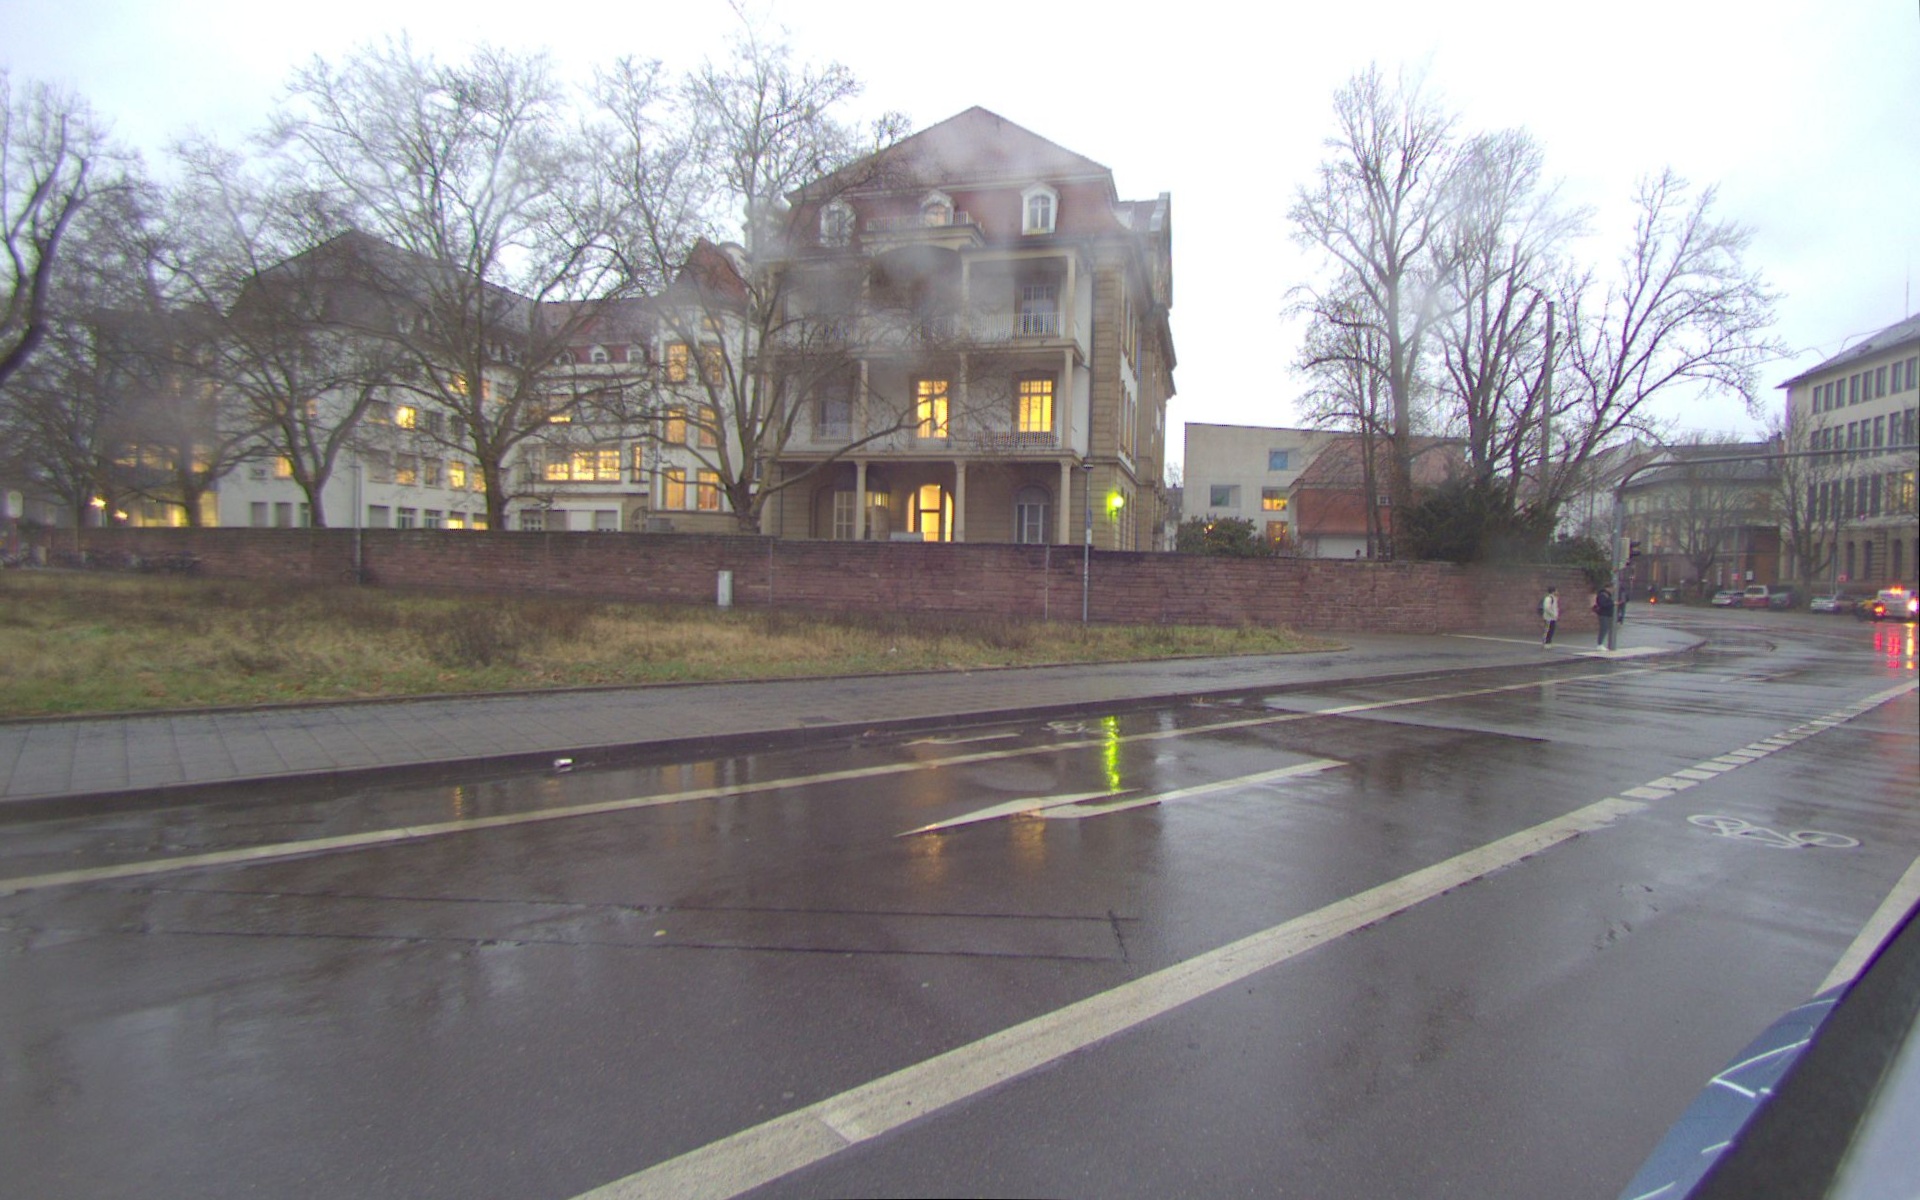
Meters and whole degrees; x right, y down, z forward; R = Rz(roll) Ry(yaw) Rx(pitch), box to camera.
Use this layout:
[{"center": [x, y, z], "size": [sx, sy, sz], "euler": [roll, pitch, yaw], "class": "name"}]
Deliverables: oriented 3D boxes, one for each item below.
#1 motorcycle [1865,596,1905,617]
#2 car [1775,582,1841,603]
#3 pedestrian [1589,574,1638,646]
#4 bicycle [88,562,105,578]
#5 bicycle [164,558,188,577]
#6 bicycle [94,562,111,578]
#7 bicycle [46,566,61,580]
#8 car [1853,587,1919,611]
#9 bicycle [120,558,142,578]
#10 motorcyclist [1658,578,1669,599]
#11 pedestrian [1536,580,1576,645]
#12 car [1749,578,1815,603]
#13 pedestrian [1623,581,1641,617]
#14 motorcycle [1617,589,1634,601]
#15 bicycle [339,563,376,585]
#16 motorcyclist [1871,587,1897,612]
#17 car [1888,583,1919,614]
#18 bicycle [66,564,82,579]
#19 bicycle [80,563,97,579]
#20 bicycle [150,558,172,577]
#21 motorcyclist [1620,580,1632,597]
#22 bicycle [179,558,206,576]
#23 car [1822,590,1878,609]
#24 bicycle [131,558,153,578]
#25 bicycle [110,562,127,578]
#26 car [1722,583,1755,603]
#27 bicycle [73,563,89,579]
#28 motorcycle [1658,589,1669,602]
[{"center": [52.192, 0.376, 57.116], "size": [0.703, 1.067, 2.158], "euler": [3, 2, 15], "class": "motorcycle"}, {"center": [64.699, -0.577, 77.229], "size": [3.916, 1.570, 1.805], "euler": [0, 0, -13], "class": "car"}, {"center": [18.243, 0.265, 28.258], "size": [0.996, 1.924, 0.664], "euler": [4, 3, 41], "class": "pedestrian"}, {"center": [-44.179, -1.525, 51.771], "size": [1.522, 0.796, 0.389], "euler": [0, 0, 38], "class": "bicycle"}, {"center": [-35.551, -1.465, 45.863], "size": [1.519, 0.796, 0.389], "euler": [0, 0, 33], "class": "bicycle"}, {"center": [-43.131, -1.491, 50.900], "size": [1.522, 0.796, 0.389], "euler": [0, 0, 38], "class": "bicycle"}, {"center": [-51.609, -1.541, 57.596], "size": [1.522, 0.796, 0.389], "euler": [0, 0, 38], "class": "bicycle"}, {"center": [61.963, -0.054, 67.009], "size": [3.927, 1.570, 1.800], "euler": [0, 0, 4], "class": "car"}, {"center": [-39.909, -1.536, 48.725], "size": [1.519, 0.928, 0.389], "euler": [0, 0, 33], "class": "bicycle"}, {"center": [60.844, -0.975, 87.479], "size": [0.706, 1.738, 0.732], "euler": [3, 2, 35], "class": "motorcyclist"}, {"center": [16.583, 0.329, 28.169], "size": [0.795, 1.744, 0.665], "euler": [3, 3, 39], "class": "pedestrian"}, {"center": [64.981, -0.782, 80.027], "size": [3.916, 1.924, 2.052], "euler": [0, 0, -13], "class": "car"}, {"center": [31.736, -0.066, 47.799], "size": [0.610, 1.674, 0.565], "euler": [3, 2, 29], "class": "pedestrian"}, {"center": [64.619, -0.493, 98.248], "size": [0.650, 1.067, 2.159], "euler": [2, 2, 14], "class": "motorcycle"}, {"center": [-23.385, -0.986, 39.275], "size": [1.366, 0.835, 0.392], "euler": [0, 0, 14], "class": "bicycle"}, {"center": [52.240, -0.036, 57.215], "size": [0.691, 1.400, 0.863], "euler": [2, 2, 15], "class": "motorcyclist"}, {"center": [58.144, -0.121, 61.193], "size": [3.920, 1.868, 1.886], "euler": [-1, 0, -30], "class": "car"}, {"center": [-47.896, -1.533, 54.678], "size": [1.522, 0.796, 0.389], "euler": [0, 0, 38], "class": "bicycle"}, {"center": [-45.442, -1.528, 52.745], "size": [1.522, 0.796, 0.389], "euler": [0, 0, 38], "class": "bicycle"}, {"center": [-37.031, -1.494, 46.889], "size": [1.480, 0.849, 0.346], "euler": [0, 0, 32], "class": "bicycle"}, {"center": [64.608, -1.091, 98.161], "size": [0.650, 1.619, 0.835], "euler": [2, 2, 14], "class": "motorcyclist"}, {"center": [-34.211, -1.465, 45.114], "size": [1.399, 0.796, 0.355], "euler": [0, 0, 26], "class": "bicycle"}, {"center": [63.602, -0.074, 72.304], "size": [3.568, 1.322, 1.712], "euler": [-1, 0, -25], "class": "car"}, {"center": [-38.627, -1.504, 47.772], "size": [1.519, 0.869, 0.389], "euler": [0, 0, 33], "class": "bicycle"}, {"center": [-41.474, -1.472, 49.880], "size": [1.599, 0.796, 0.388], "euler": [0, 0, 41], "class": "bicycle"}, {"center": [66.480, -0.634, 86.391], "size": [1.992, 1.690, 3.940], "euler": [0, 0, 42], "class": "car"}, {"center": [-46.673, -1.531, 53.723], "size": [1.522, 0.796, 0.389], "euler": [0, 0, 38], "class": "bicycle"}, {"center": [60.832, -0.360, 87.520], "size": [0.721, 1.067, 2.141], "euler": [3, 2, 34], "class": "motorcycle"}]
